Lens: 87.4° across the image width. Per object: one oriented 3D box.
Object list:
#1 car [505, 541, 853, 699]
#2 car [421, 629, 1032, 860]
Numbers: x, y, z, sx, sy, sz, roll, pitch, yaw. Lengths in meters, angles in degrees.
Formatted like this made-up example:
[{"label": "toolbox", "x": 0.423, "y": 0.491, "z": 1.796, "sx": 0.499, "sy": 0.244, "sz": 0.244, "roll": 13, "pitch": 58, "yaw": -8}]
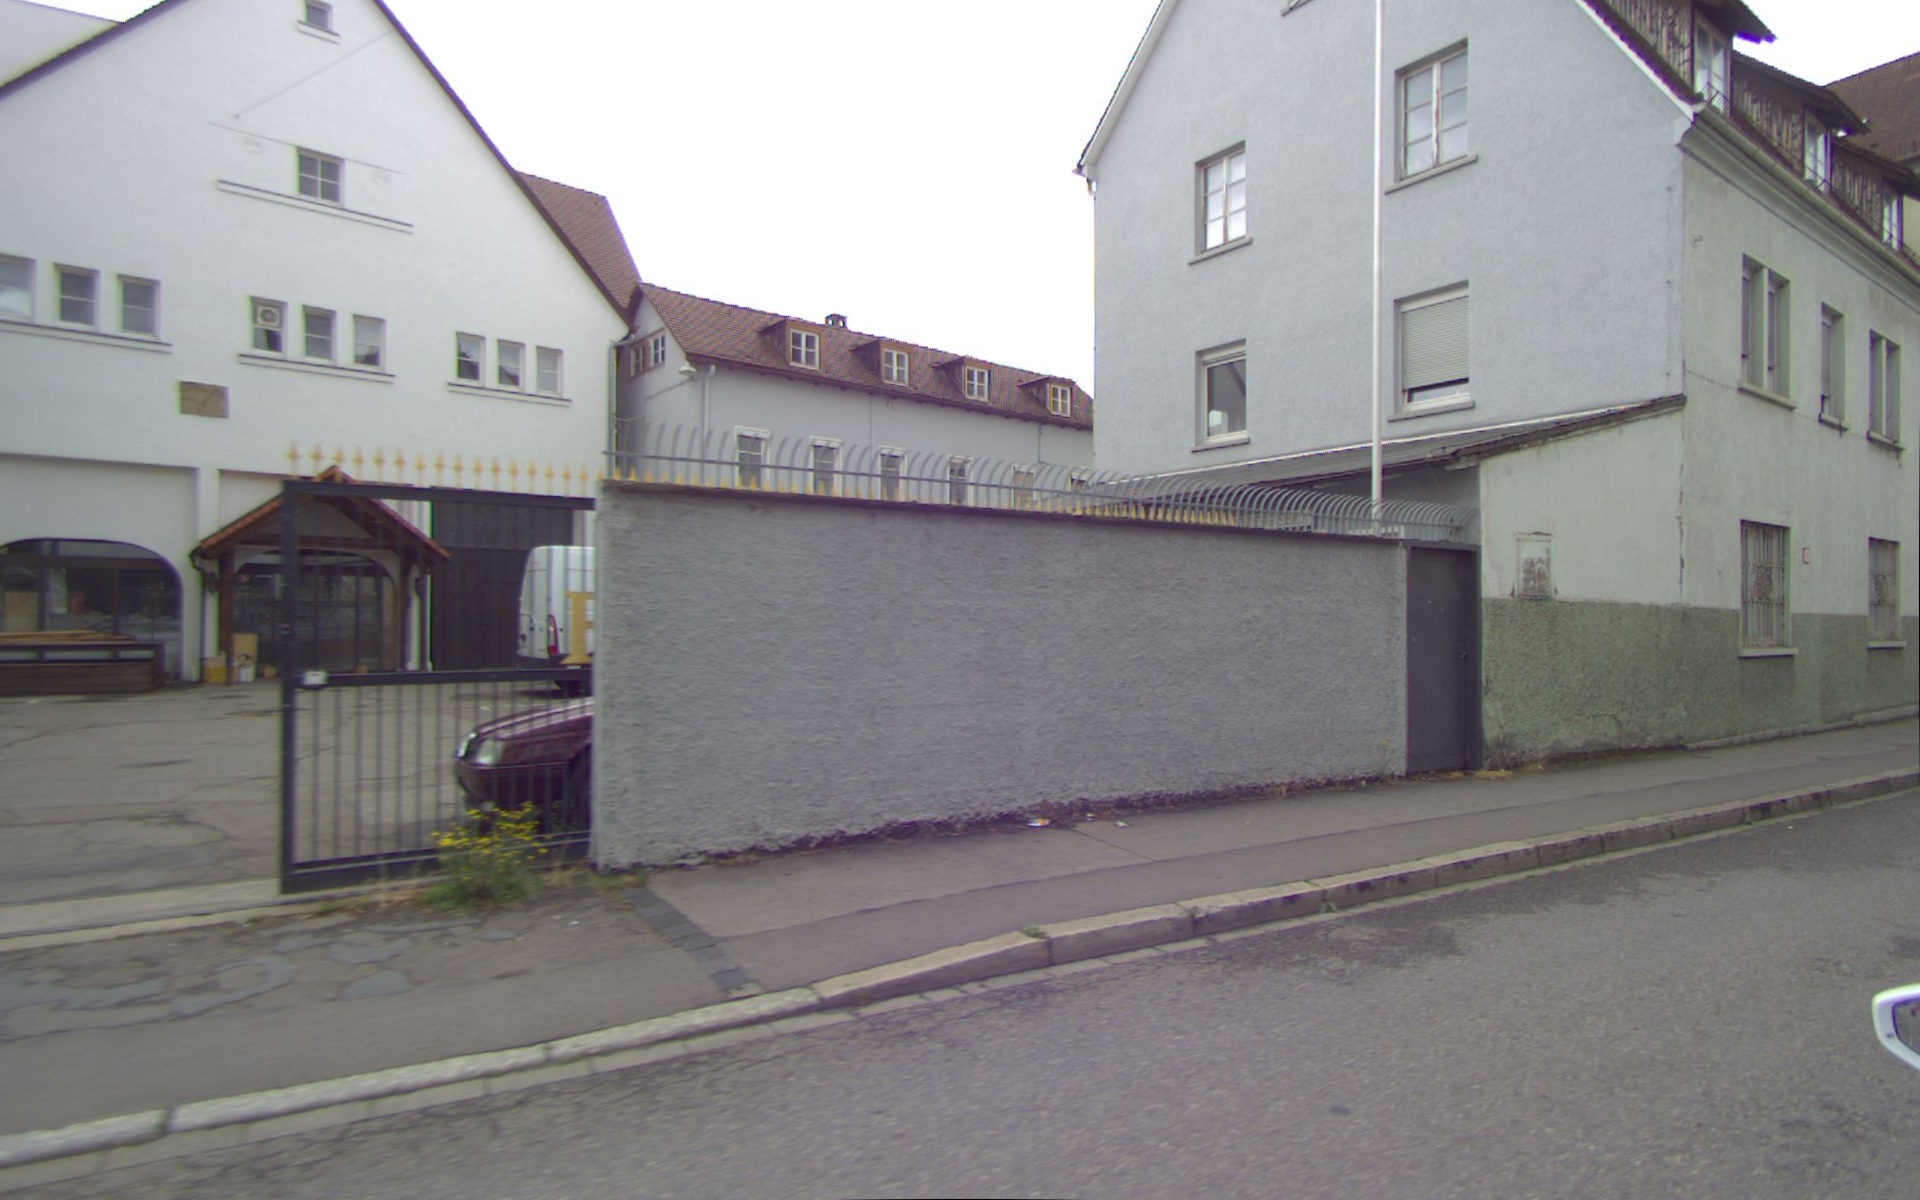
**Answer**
[{"label": "car", "x": -4.960, "y": 0.412, "z": 18.343, "sx": 5.802, "sy": 2.474, "sz": 1.979, "roll": 2, "pitch": -2, "yaw": -38}, {"label": "car", "x": -1.650, "y": 0.902, "z": 7.724, "sx": 4.216, "sy": 1.313, "sz": 1.828, "roll": 2, "pitch": -2, "yaw": -35}]
